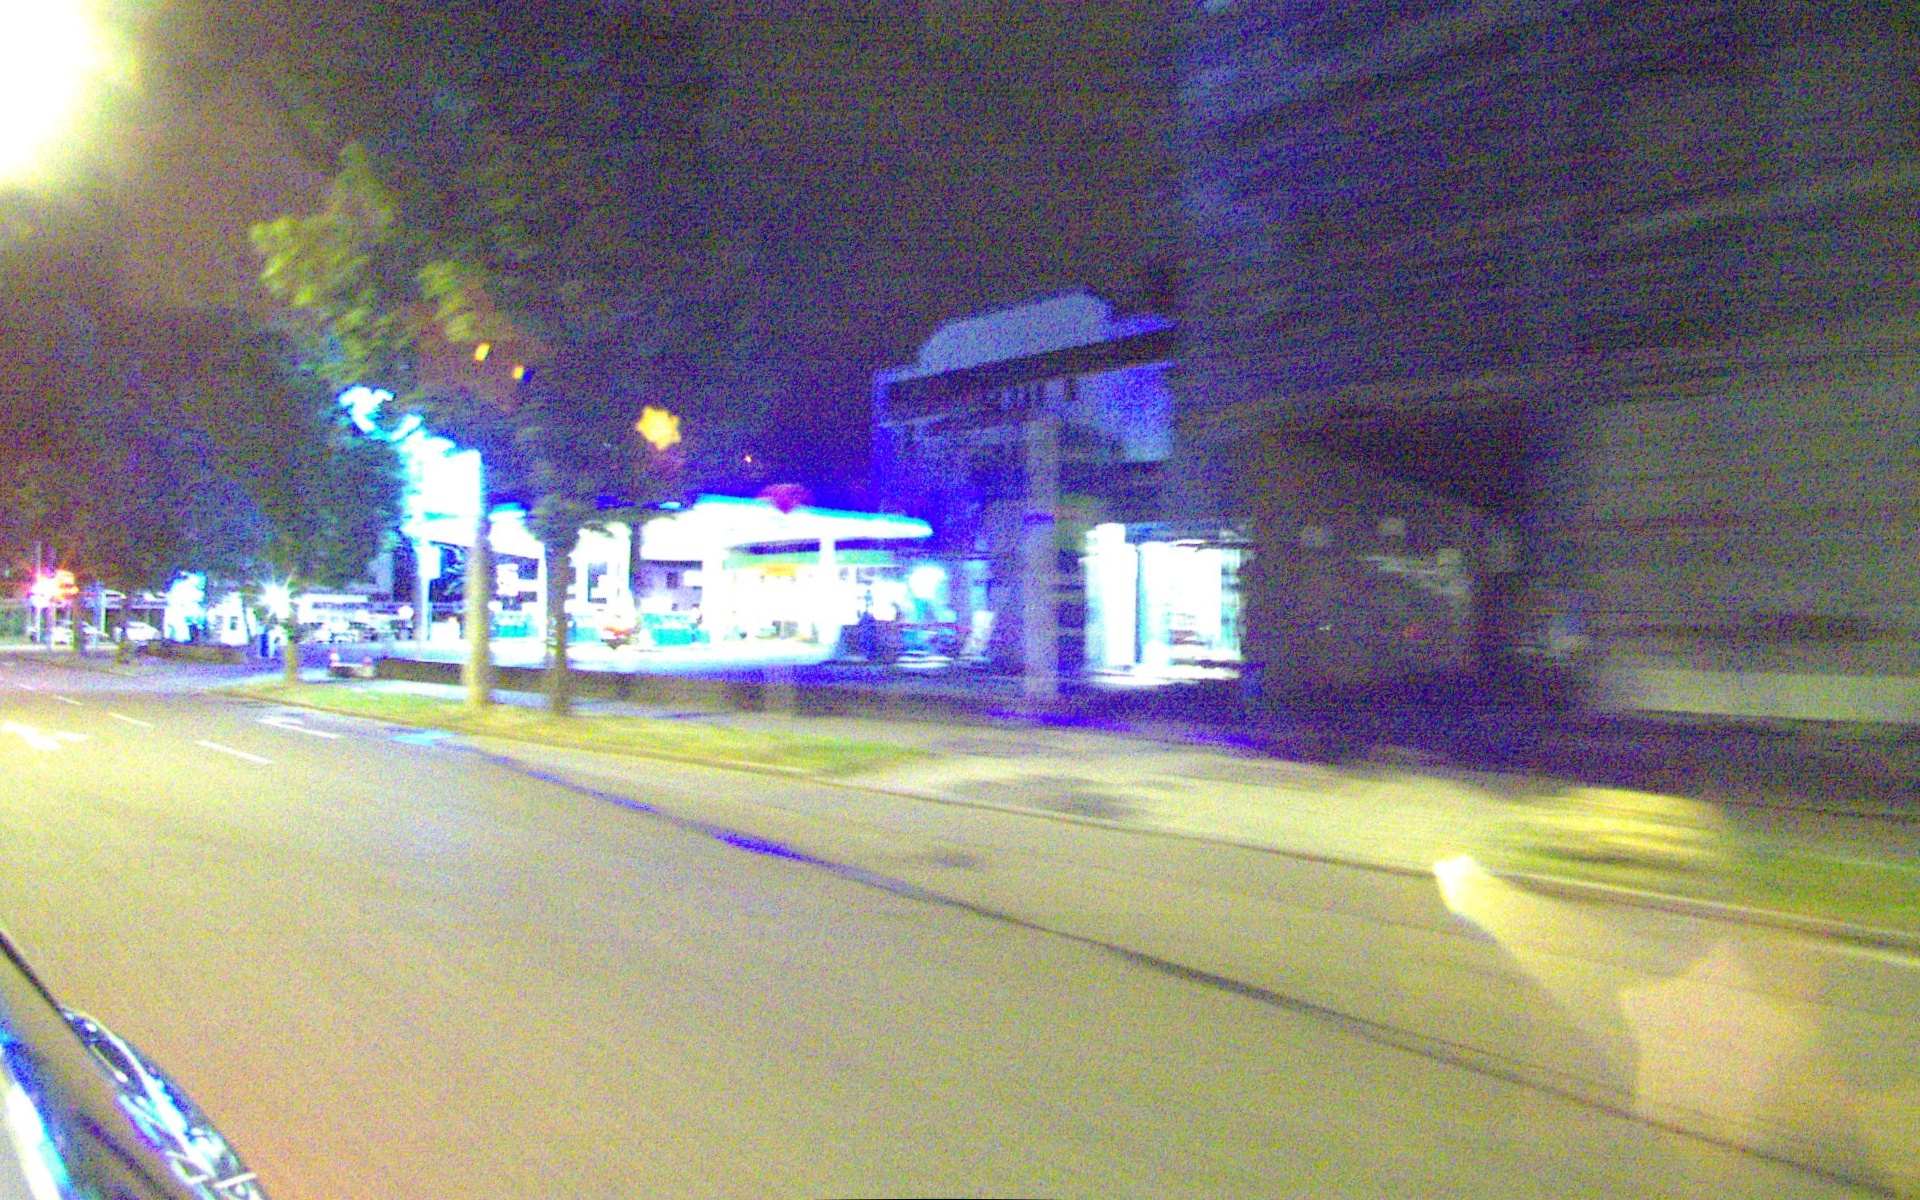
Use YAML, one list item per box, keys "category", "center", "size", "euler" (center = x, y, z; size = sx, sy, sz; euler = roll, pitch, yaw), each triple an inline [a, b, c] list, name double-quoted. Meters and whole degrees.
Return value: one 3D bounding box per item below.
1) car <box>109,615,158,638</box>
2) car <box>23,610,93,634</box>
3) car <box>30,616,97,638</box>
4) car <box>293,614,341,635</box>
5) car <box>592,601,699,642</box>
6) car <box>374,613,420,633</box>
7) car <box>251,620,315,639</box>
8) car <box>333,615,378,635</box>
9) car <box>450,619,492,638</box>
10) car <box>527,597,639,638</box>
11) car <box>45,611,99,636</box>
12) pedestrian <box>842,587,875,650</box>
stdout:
- category: "car"
  center: [-55.007, 1.763, 67.357]
  size: [4.067, 1.472, 1.840]
  euler: [-1, -1, 40]
- category: "car"
  center: [-64.781, 1.578, 72.722]
  size: [1.633, 1.712, 3.530]
  euler: [-1, -2, 40]
- category: "car"
  center: [-67.018, 2.003, 75.714]
  size: [1.633, 1.598, 3.531]
  euler: [0, -2, 39]
- category: "car"
  center: [-47.889, 1.830, 75.321]
  size: [4.351, 1.489, 1.840]
  euler: [-1, -1, 40]
- category: "car"
  center: [-12.369, 0.822, 39.957]
  size: [1.669, 1.544, 3.712]
  euler: [-1, -1, 40]
- category: "car"
  center: [-44.329, 1.779, 79.682]
  size: [4.083, 1.489, 1.840]
  euler: [-1, -1, 40]
- category: "car"
  center: [-54.540, 2.375, 81.605]
  size: [1.716, 1.489, 4.257]
  euler: [0, -1, 13]
- category: "car"
  center: [-46.169, 1.860, 77.243]
  size: [4.083, 1.489, 1.710]
  euler: [-1, -1, 40]
- category: "car"
  center: [-40.549, 2.343, 83.894]
  size: [3.955, 1.489, 1.743]
  euler: [-1, -1, 40]
- category: "car"
  center: [-16.958, 0.815, 45.662]
  size: [1.977, 1.740, 4.301]
  euler: [-1, -2, 40]
- category: "car"
  center: [-57.084, 1.492, 65.042]
  size: [4.383, 1.569, 1.974]
  euler: [-1, -1, 40]
- category: "pedestrian"
  center: [-2.688, 0.485, 26.787]
  size: [0.642, 1.618, 0.569]
  euler: [-1, -1, 39]
